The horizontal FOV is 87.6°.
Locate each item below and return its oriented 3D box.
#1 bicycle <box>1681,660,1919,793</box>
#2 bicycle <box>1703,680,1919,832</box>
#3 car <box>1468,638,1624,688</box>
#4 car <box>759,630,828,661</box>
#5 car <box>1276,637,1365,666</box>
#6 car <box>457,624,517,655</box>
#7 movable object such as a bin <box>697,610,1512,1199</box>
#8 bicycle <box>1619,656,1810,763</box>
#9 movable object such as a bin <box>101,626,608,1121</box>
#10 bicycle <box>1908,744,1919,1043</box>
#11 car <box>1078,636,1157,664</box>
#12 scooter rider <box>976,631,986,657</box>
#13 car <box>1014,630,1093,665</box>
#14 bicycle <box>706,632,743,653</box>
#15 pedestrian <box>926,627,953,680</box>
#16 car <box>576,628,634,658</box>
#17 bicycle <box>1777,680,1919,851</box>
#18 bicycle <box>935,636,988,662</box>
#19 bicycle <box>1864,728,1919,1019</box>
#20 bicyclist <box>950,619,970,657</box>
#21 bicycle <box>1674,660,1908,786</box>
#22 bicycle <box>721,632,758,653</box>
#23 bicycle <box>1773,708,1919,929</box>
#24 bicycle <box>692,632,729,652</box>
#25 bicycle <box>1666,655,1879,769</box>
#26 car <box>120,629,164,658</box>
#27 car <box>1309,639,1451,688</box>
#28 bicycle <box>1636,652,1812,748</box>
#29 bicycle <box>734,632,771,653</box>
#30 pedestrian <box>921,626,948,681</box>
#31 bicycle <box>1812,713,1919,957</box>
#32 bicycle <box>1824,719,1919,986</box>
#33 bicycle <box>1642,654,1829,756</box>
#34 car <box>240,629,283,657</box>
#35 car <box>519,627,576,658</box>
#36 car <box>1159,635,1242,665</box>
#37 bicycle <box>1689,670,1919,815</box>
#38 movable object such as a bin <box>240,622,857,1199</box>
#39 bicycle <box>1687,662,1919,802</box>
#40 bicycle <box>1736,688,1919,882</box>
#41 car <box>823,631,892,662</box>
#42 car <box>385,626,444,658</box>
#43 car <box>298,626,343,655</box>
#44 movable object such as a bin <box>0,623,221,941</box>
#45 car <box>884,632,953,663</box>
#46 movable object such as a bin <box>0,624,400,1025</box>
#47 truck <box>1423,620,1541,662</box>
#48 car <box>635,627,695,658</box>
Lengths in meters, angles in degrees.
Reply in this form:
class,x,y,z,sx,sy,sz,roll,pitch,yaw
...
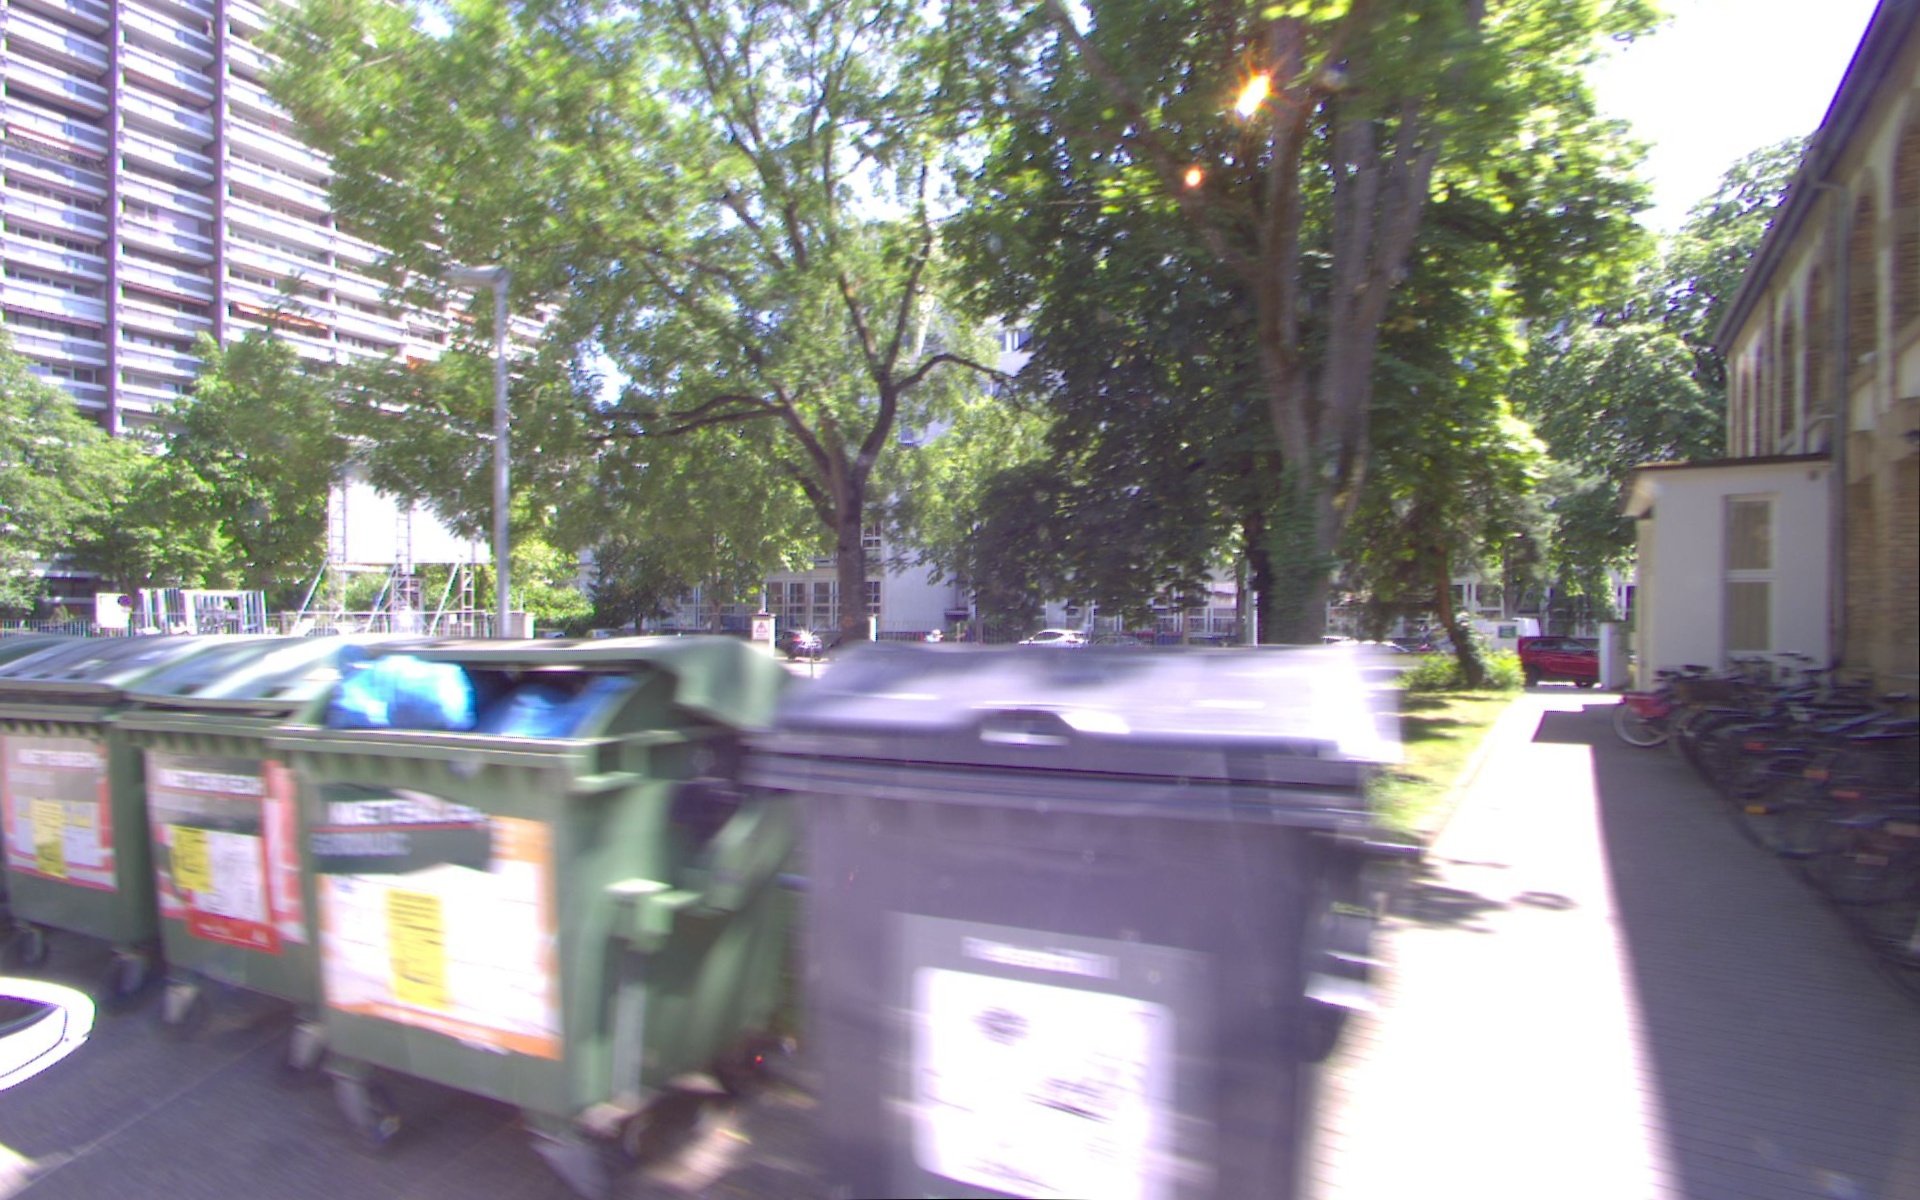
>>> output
class,x,y,z,sx,sy,sz,roll,pitch,yaw
bicycle,8.246,1.204,9.871,1.816,1.157,0.586,0,-1,33
bicycle,7.094,1.225,8.017,1.809,1.084,0.520,0,-1,33
car,18.391,1.956,31.555,3.860,1.483,1.706,0,-1,4
car,-8.292,2.229,49.711,1.629,1.482,3.642,1,-2,-44
car,17.239,2.430,48.023,3.706,1.307,1.598,-1,-2,44
car,-23.344,1.923,49.403,1.622,1.482,3.643,1,-2,-43
movable object such as a bin,0.353,0.809,2.259,1.438,1.524,1.156,-1,-2,23
bicycle,9.119,1.285,12.177,1.819,1.157,0.585,0,-1,38
movable object such as a bin,-2.274,0.857,3.856,1.291,1.488,1.178,-1,-2,28
bicycle,4.253,1.084,3.128,1.809,1.082,0.452,0,-1,33
car,7.562,2.388,48.330,1.593,1.297,3.716,1,-2,-38
scooter rider,0.930,1.942,44.683,0.409,1.148,0.359,0,-1,0
car,4.501,2.254,48.531,1.597,1.641,3.709,1,-2,-44
bicycle,-13.661,2.453,58.200,0.771,1.172,2.376,0,-1,27
pedestrian,-0.621,1.636,30.619,0.719,1.609,0.741,0,-3,6
car,-17.776,2.125,50.117,1.620,1.482,3.648,1,-2,-39
bicycle,6.848,1.156,7.036,1.799,1.118,0.472,1,0,0
bicycle,0.073,2.224,45.559,2.392,1.167,0.786,0,-1,-1
bicycle,4.520,1.083,3.610,1.809,1.082,0.452,0,-1,33
bicyclist,0.008,1.735,45.550,0.883,1.687,0.859,0,-1,0
bicycle,8.570,1.234,10.430,1.816,1.157,0.586,0,-1,33
bicycle,-12.710,2.430,57.733,0.771,1.172,2.376,0,-1,27
bicycle,5.457,1.182,5.235,1.809,1.082,0.502,0,0,33
bicycle,-14.607,2.443,58.726,0.771,1.172,2.376,0,-1,27
bicycle,9.113,1.225,11.329,1.816,1.157,0.586,0,-1,33
car,-41.484,2.196,50.810,1.619,1.405,3.650,1,-2,-38
car,13.388,1.999,32.090,3.860,1.483,1.706,0,-1,4
bicycle,10.067,1.287,13.280,1.816,1.157,0.586,0,-1,33
bicycle,-11.828,2.424,57.256,0.771,1.172,2.376,0,-1,27
pedestrian,-0.748,1.592,29.732,0.718,1.609,0.741,0,-3,4
bicycle,5.110,1.130,4.565,1.809,1.082,0.502,0,-1,33
bicycle,4.781,1.105,4.105,1.809,1.082,0.502,0,-1,33
bicycle,9.710,1.282,12.624,1.816,1.157,0.586,0,-1,33
car,-35.720,2.171,51.206,1.619,1.405,3.650,1,-2,-38
car,-20.593,2.094,49.929,1.620,1.482,3.648,1,-2,-39
car,11.365,2.330,47.529,1.593,1.322,3.717,1,-2,-37
bicycle,7.474,1.204,8.688,1.816,1.114,0.520,0,-1,33
movable object such as a bin,-1.172,0.825,3.043,1.290,1.488,1.179,-1,-2,26
bicycle,7.919,1.185,9.326,1.816,1.157,0.586,0,-1,33
bicycle,6.103,1.182,6.349,1.809,1.118,0.520,1,0,33
car,-5.073,2.272,49.280,1.595,1.463,3.646,1,-2,-41
car,-26.250,1.999,48.135,1.622,1.482,3.643,1,-2,-43
car,-32.415,2.045,50.733,1.619,1.405,3.650,1,-2,-38
movable object such as a bin,-4.808,0.880,5.343,1.319,1.488,1.172,-2,-2,43
car,-2.074,2.287,49.286,1.593,1.455,3.576,1,-2,-38
movable object such as a bin,-3.515,0.865,4.549,1.291,1.488,1.179,-1,-2,26
truck,24.240,1.919,46.614,1.640,1.856,4.601,1,-2,-43
car,-14.732,2.085,49.918,1.620,1.482,3.648,1,-2,-39
